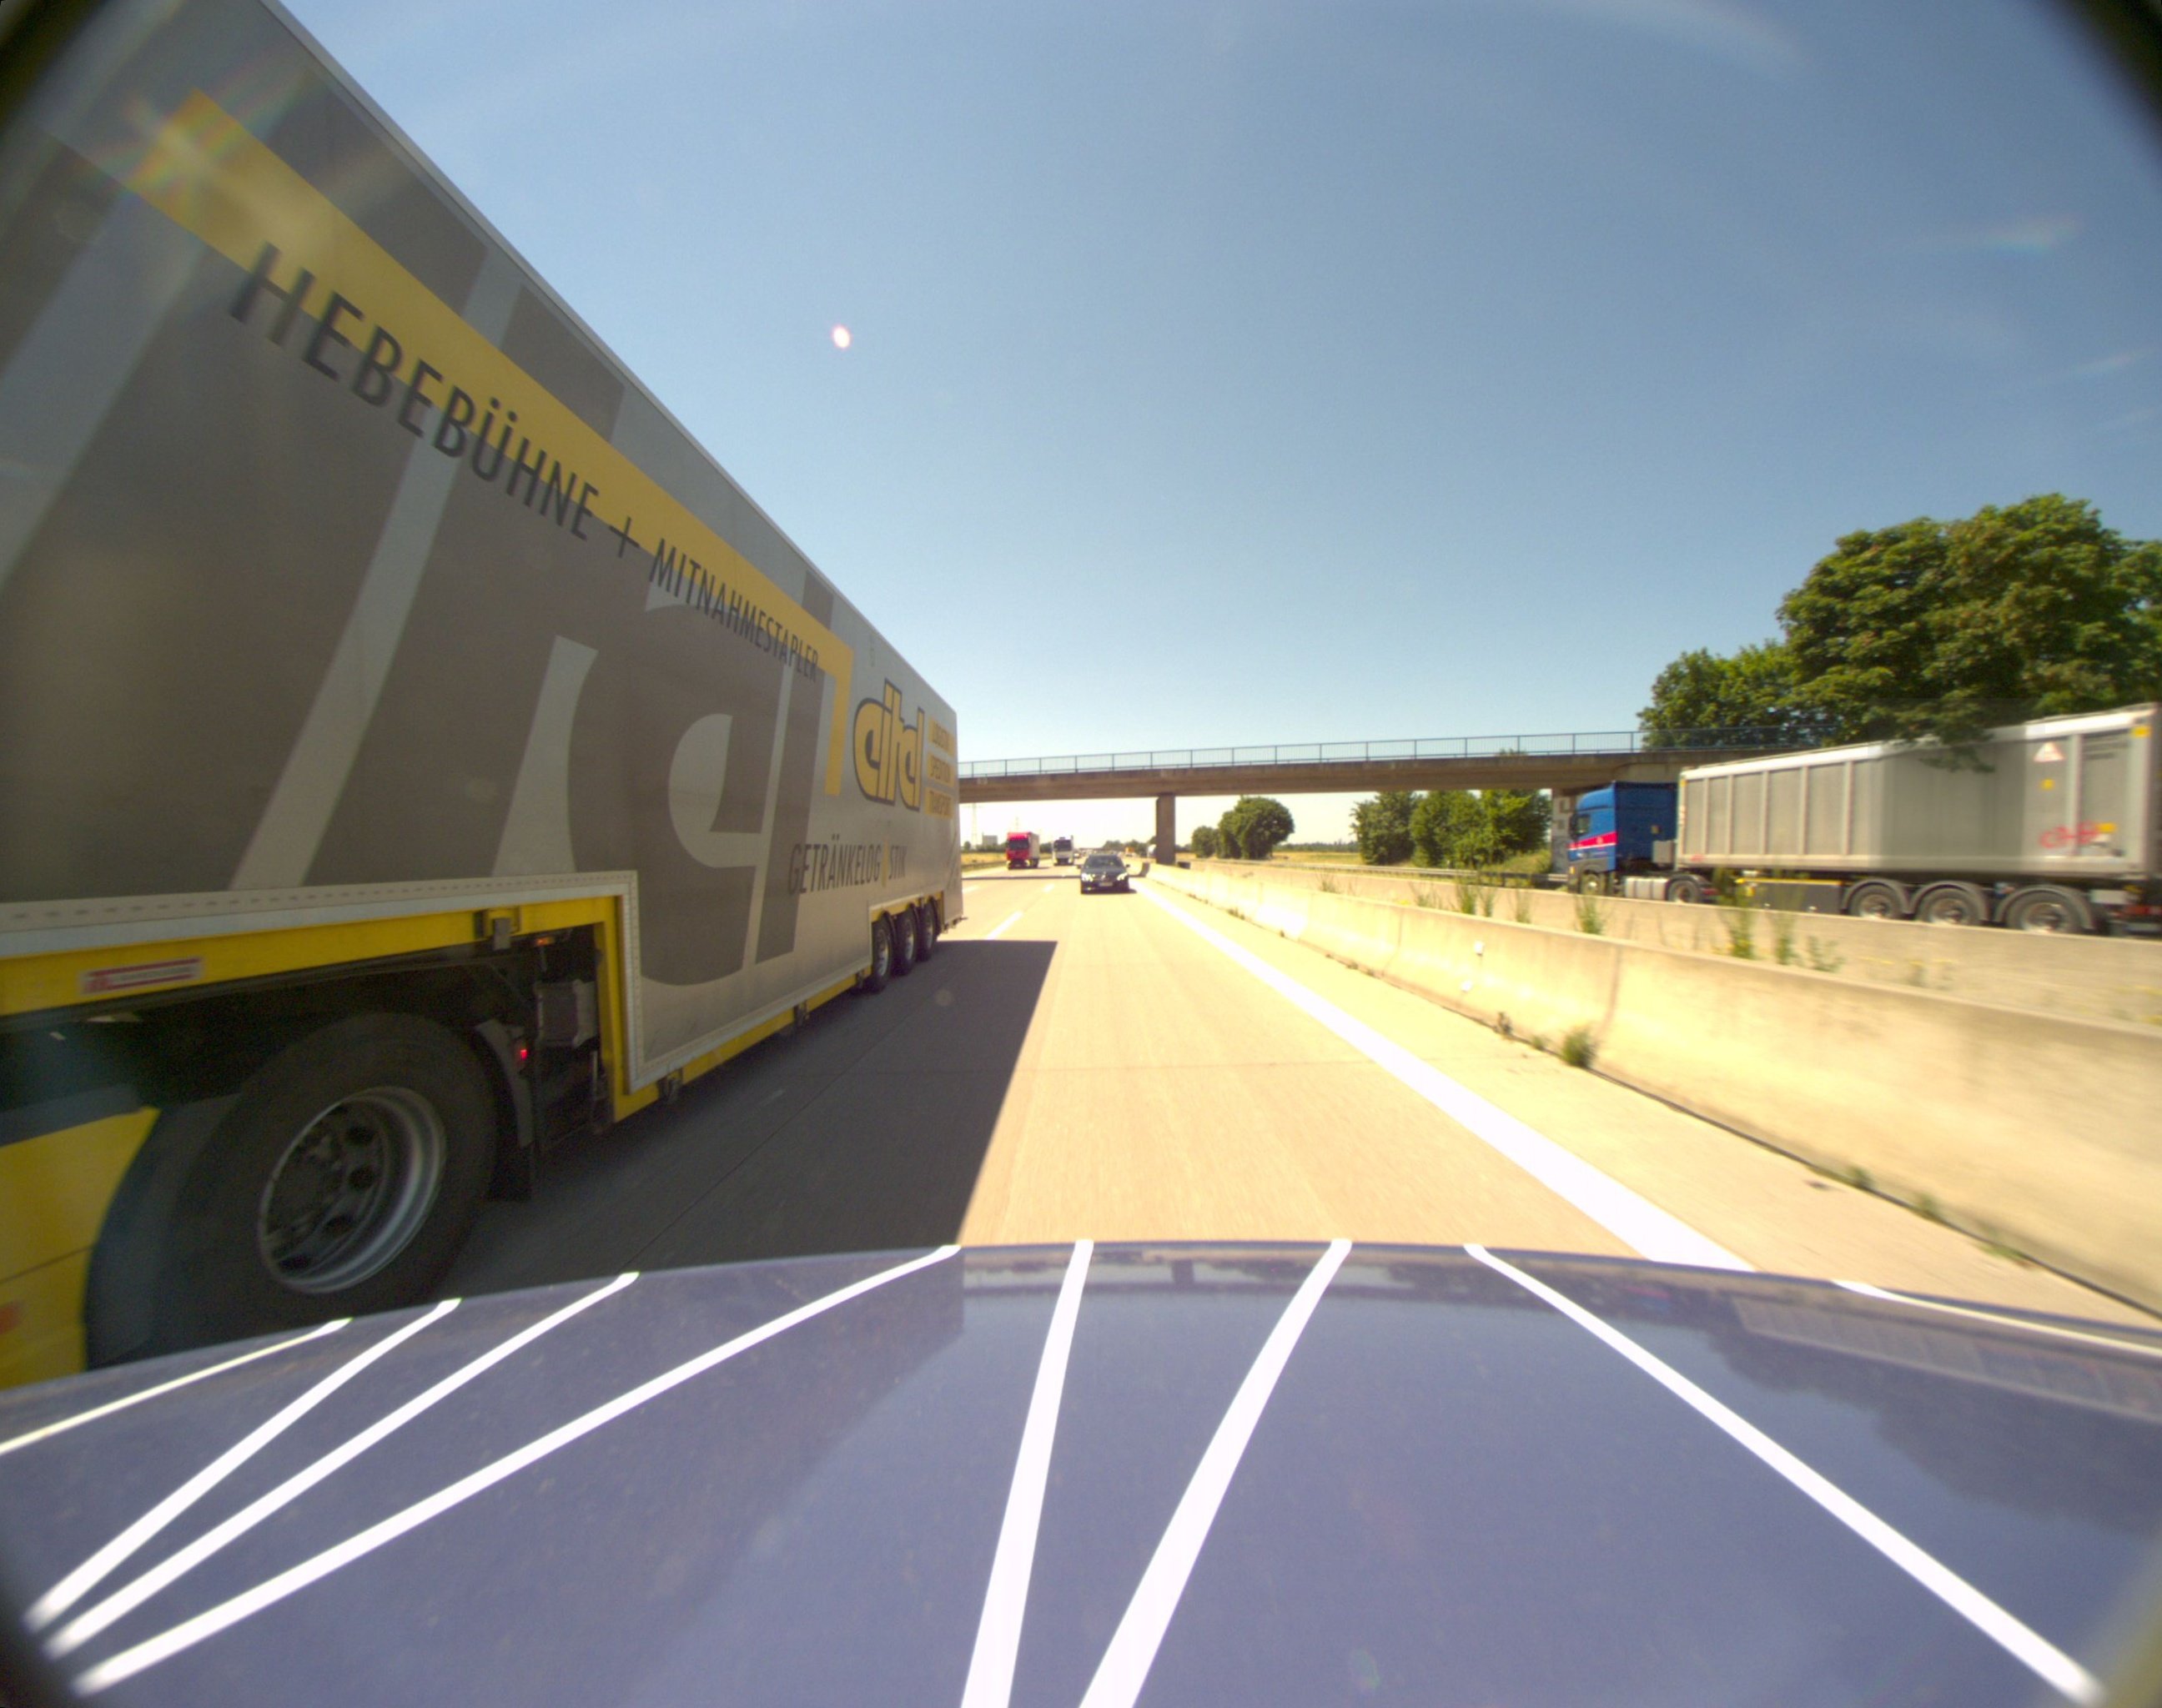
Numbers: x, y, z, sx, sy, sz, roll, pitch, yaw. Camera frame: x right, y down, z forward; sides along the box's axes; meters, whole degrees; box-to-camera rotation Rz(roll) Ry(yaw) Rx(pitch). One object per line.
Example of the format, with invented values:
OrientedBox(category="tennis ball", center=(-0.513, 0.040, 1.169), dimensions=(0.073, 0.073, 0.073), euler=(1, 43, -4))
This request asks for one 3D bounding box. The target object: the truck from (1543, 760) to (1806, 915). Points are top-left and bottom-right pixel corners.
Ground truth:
OrientedBox(category="truck", center=(17.846, -0.475, 23.570), dimensions=(2.989, 4.066, 6.464), euler=(1, 1, 1))

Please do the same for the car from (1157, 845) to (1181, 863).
OrientedBox(category="car", center=(10.727, -0.056, 92.843), dimensions=(2.311, 2.002, 5.654), euler=(-2, 1, 1))

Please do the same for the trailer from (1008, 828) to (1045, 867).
OrientedBox(category="trailer", center=(-6.182, -0.796, 88.563), dimensions=(2.959, 4.122, 13.808), euler=(-2, 1, 1))

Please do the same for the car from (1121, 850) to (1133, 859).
OrientedBox(category="car", center=(10.705, 0.100, 177.056), dimensions=(2.258, 2.002, 5.978), euler=(-2, 1, 0))

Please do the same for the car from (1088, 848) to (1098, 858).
OrientedBox(category="car", center=(2.415, -0.211, 153.984), dimensions=(1.998, 1.781, 4.300), euler=(-2, 1, 1))

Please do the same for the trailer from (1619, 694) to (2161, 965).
OrientedBox(category="trailer", center=(17.761, -0.394, 17.174), dimensions=(2.989, 4.066, 11.604), euler=(1, 1, 1))

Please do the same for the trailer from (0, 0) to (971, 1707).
OrientedBox(category="trailer", center=(-3.161, -0.385, 6.621), dimensions=(1.998, 4.230, 15.197), euler=(-2, 1, 0))

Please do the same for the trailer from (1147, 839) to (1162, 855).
OrientedBox(category="trailer", center=(19.096, -1.866, 198.895), dimensions=(2.684, 3.946, 13.005), euler=(0, 1, 0))

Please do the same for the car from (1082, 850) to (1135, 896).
OrientedBox(category="car", center=(1.019, 0.673, 29.204), dimensions=(1.848, 1.576, 3.939), euler=(-2, 1, 1))

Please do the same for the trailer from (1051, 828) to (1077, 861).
OrientedBox(category="trailer", center=(-2.251, -1.317, 103.477), dimensions=(2.959, 4.122, 12.024), euler=(-2, 1, 1))

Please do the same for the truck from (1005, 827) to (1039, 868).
OrientedBox(category="truck", center=(-6.330, -0.727, 82.174), dimensions=(2.959, 4.122, 6.151), euler=(-2, 1, 1))

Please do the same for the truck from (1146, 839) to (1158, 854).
OrientedBox(category="truck", center=(19.103, -2.131, 205.149), dimensions=(2.663, 3.946, 6.619), euler=(0, 1, 0))

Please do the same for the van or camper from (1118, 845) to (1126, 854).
OrientedBox(category="van or camper", center=(11.745, -1.342, 219.526), dimensions=(1.998, 2.284, 6.469), euler=(-2, 1, 1))

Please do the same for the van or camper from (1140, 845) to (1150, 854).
OrientedBox(category="van or camper", center=(15.551, -1.046, 185.528), dimensions=(1.942, 2.207, 4.796), euler=(-2, 1, 1))

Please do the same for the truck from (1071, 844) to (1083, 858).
OrientedBox(category="truck", center=(-1.122, -0.928, 221.445), dimensions=(2.959, 4.122, 10.016), euler=(-2, 1, 1))

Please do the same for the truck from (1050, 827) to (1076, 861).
OrientedBox(category="truck", center=(-2.311, -1.308, 97.467), dimensions=(2.959, 4.122, 6.151), euler=(-2, 1, 1))
